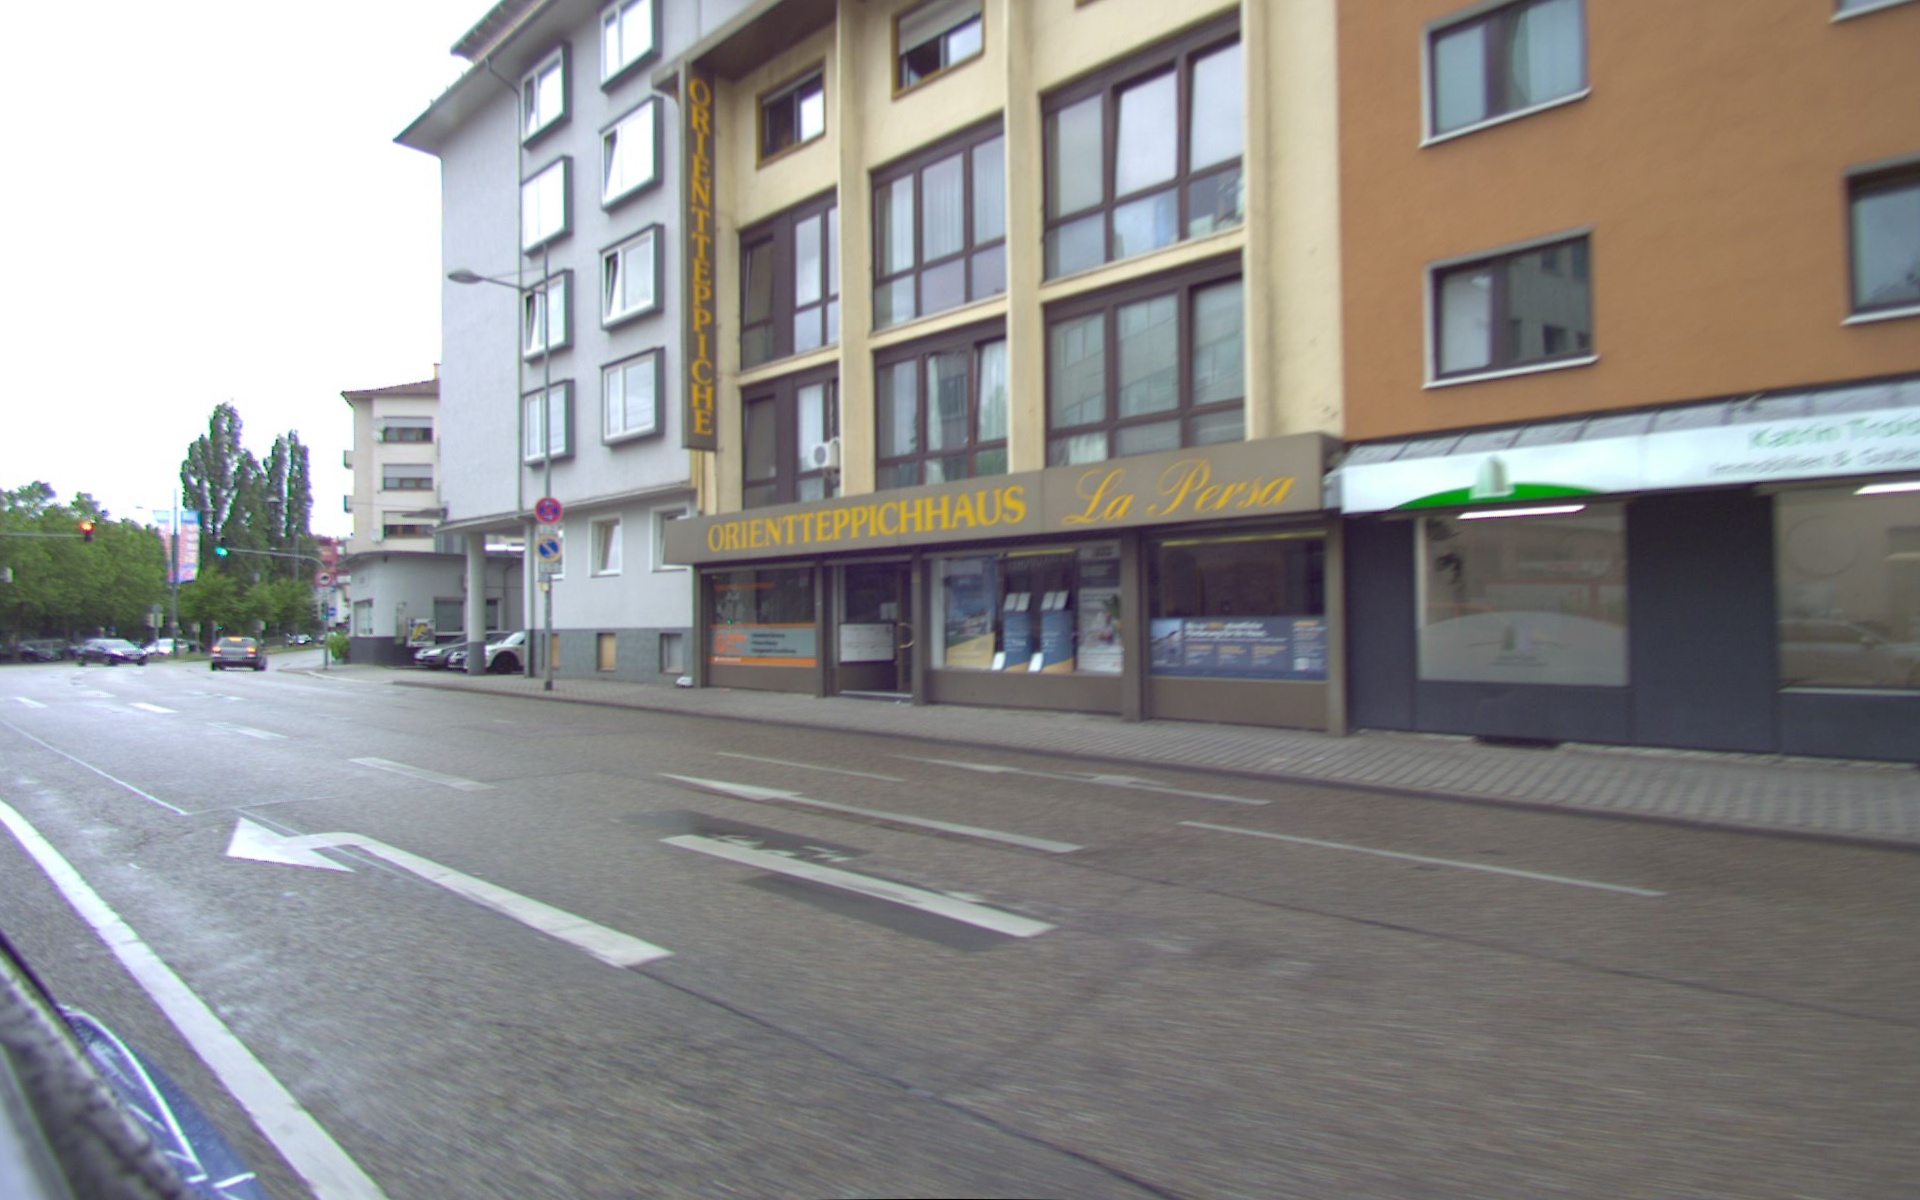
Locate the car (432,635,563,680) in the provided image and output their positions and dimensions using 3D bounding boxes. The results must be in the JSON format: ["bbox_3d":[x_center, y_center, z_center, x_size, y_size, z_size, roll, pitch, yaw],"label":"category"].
[{"bbox_3d":[-15.941,2.006,35.000,1.638,1.431,3.716,-2,-6,42],"label":"car"}]

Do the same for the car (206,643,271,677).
[{"bbox_3d":[-31.251,2.608,43.915,1.704,1.377,4.123,1,-4,-28],"label":"car"}]

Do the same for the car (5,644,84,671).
[{"bbox_3d":[-81.031,5.073,89.687,4.768,1.957,1.956,-3,-1,-18],"label":"car"}]

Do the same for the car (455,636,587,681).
[{"bbox_3d":[-14.167,1.922,32.771,1.494,1.348,3.586,-2,-6,39],"label":"car"}]

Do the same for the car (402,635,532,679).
[{"bbox_3d":[-17.737,2.069,36.510,1.797,1.431,3.771,0,-4,42],"label":"car"}]

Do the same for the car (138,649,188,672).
[{"bbox_3d":[-58.240,4.405,74.011,1.865,1.588,4.375,2,-4,-25],"label":"car"}]

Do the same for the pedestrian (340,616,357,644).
[{"bbox_3d":[-39.390,1.907,65.222,0.767,1.742,0.662,-3,-2,-20],"label":"pedestrian"}]

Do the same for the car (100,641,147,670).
[{"bbox_3d":[-45.578,2.995,55.114,1.777,1.445,4.402,0,-2,-42],"label":"car"}]

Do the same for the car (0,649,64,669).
[{"bbox_3d":[-79.237,5.001,85.634,4.672,1.416,1.868,-3,-1,-18],"label":"car"}]
